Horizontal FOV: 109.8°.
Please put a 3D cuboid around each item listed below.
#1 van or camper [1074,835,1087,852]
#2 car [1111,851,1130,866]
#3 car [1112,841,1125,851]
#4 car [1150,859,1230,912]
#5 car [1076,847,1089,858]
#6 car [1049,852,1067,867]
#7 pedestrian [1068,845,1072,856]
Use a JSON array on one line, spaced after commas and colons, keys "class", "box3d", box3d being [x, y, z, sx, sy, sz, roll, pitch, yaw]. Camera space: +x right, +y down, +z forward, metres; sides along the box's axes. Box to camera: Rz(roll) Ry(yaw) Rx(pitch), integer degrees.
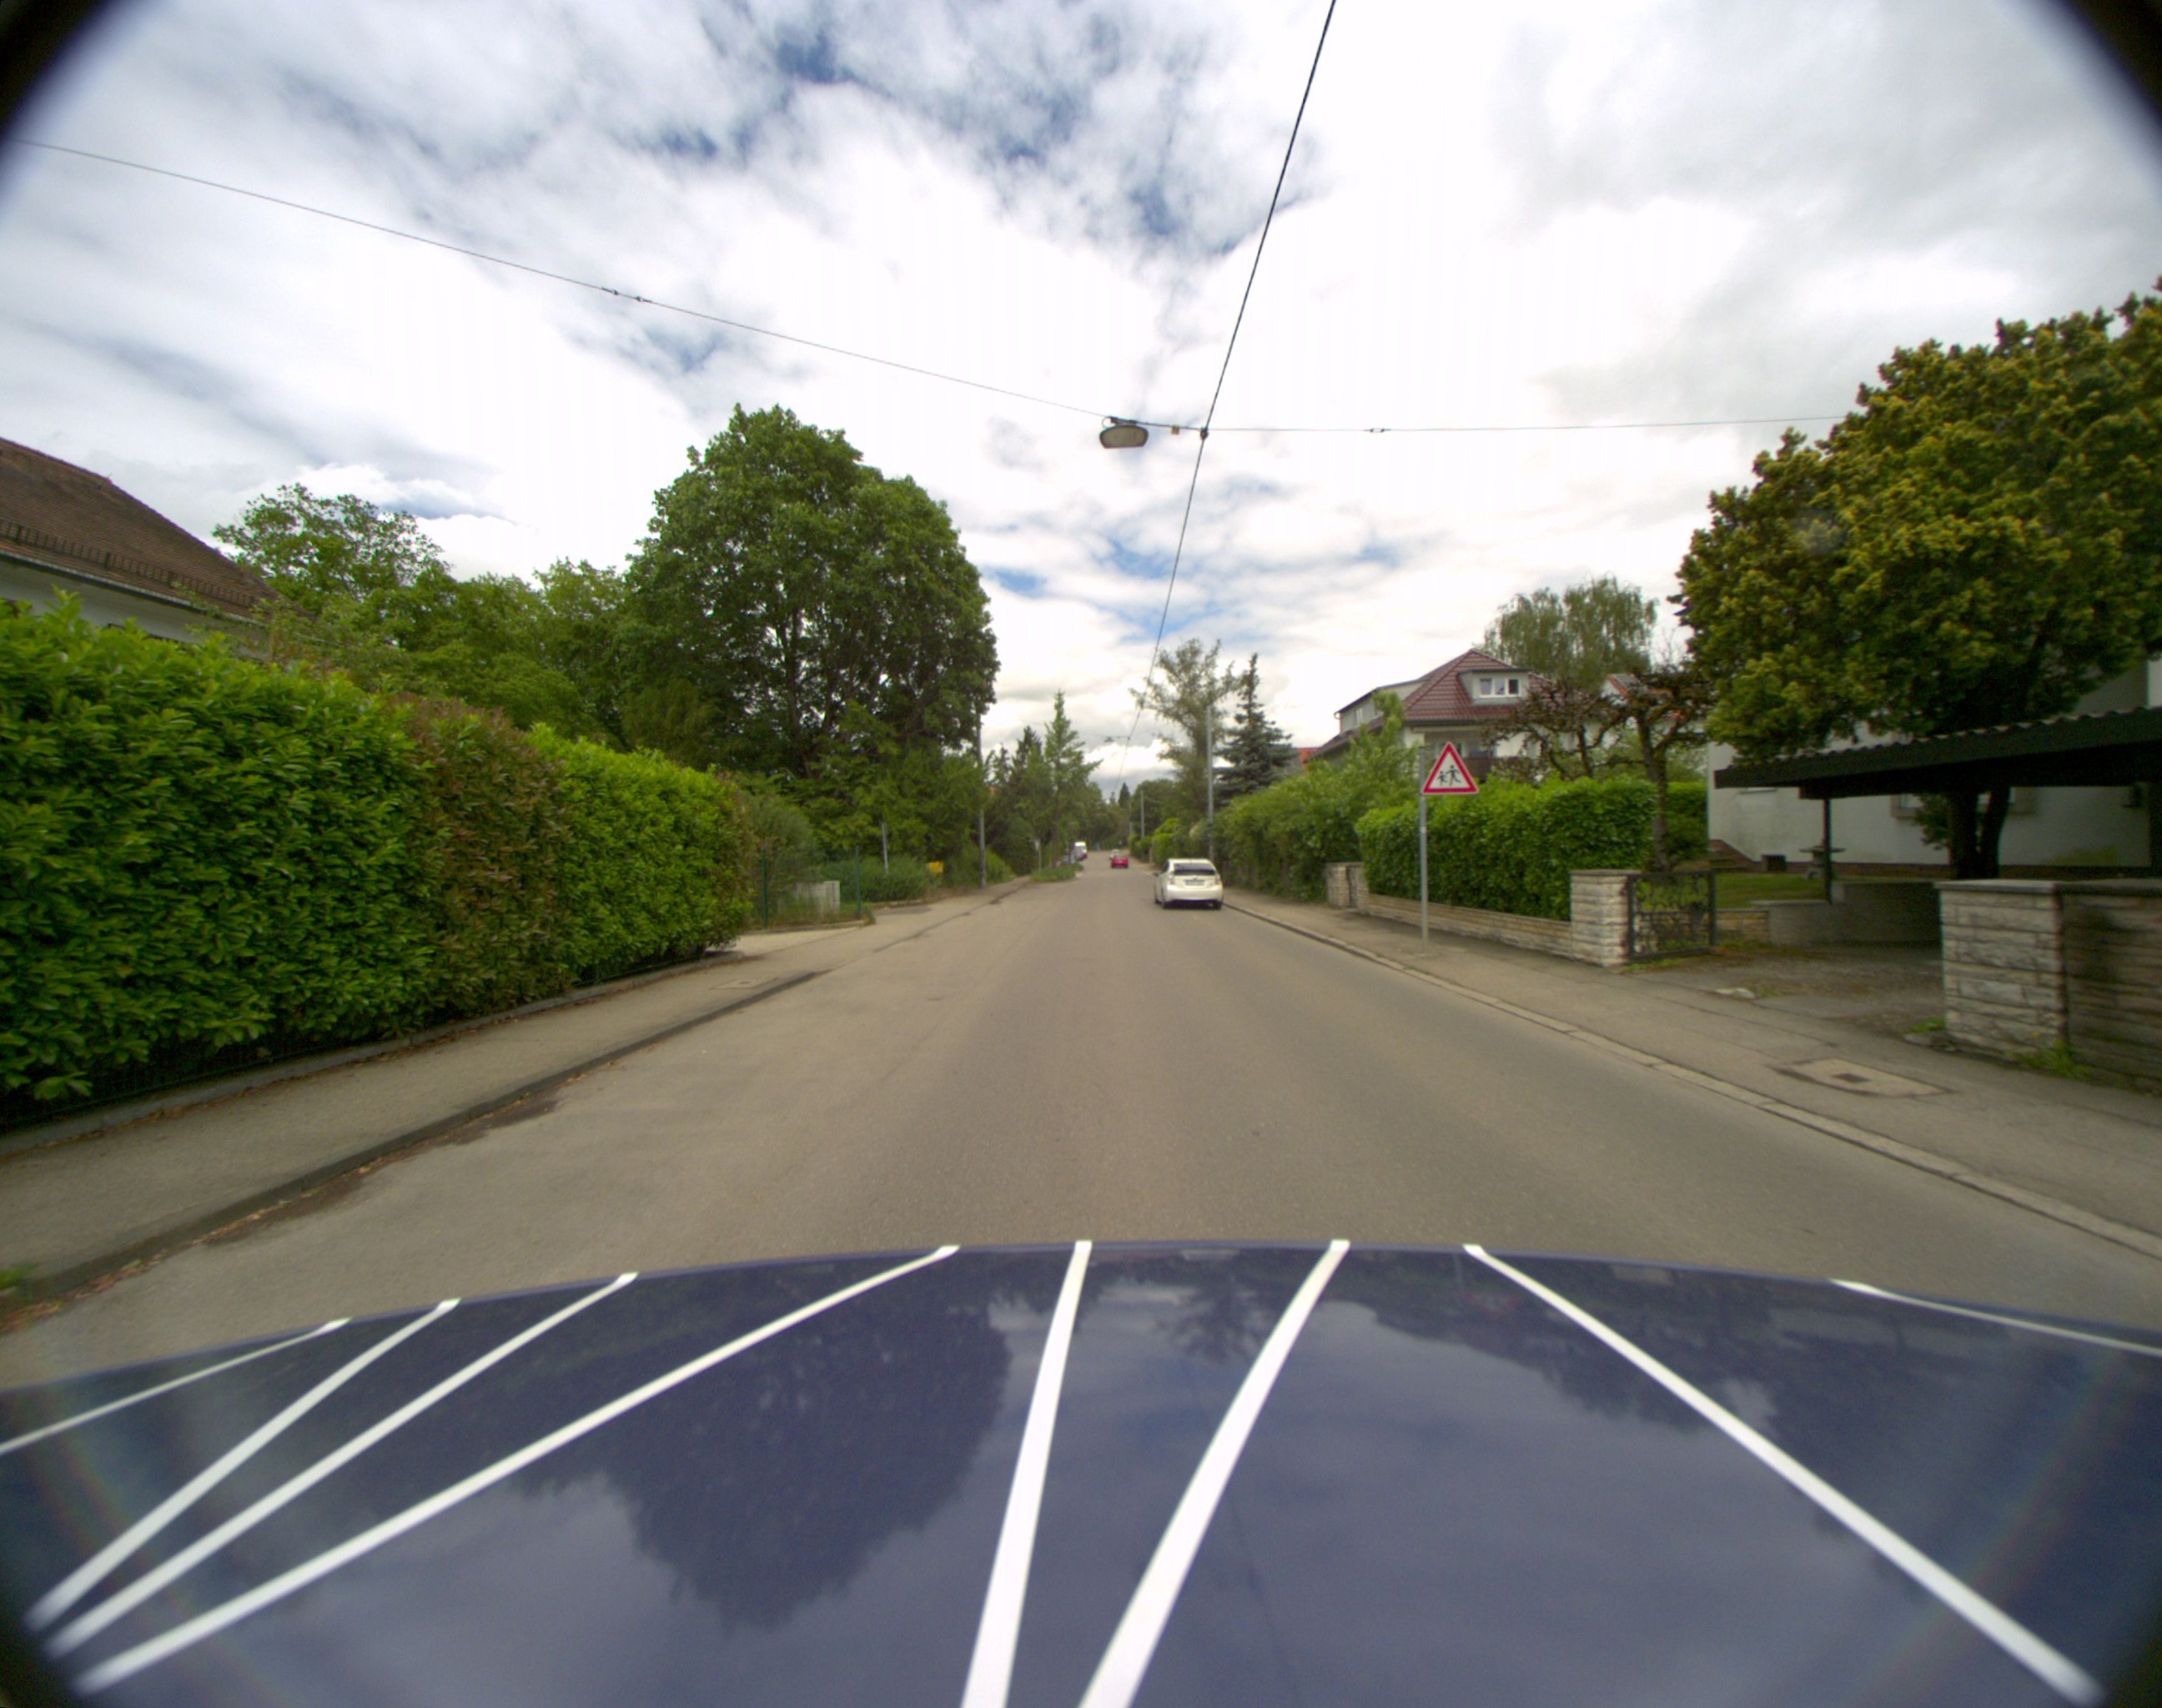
[{"class": "van or camper", "box3d": [-0.135, -1.761, 124.244, 2.046, 2.605, 7.036, -3, 2, 0]}, {"class": "car", "box3d": [4.216, 0.466, 81.006, 1.810, 1.423, 4.118, 1, 1, 0]}, {"class": "car", "box3d": [5.564, -1.142, 113.543, 1.810, 1.423, 4.300, -1, 0, 1]}, {"class": "car", "box3d": [3.284, 0.907, 23.638, 1.859, 1.443, 4.281, 0, 0, 0]}, {"class": "car", "box3d": [0.227, -0.247, 114.804, 1.893, 1.572, 4.764, 0, 2, 2]}, {"class": "car", "box3d": [-2.431, 0.526, 81.045, 1.627, 1.464, 3.740, -2, 1, 2]}, {"class": "pedestrian", "box3d": [-1.746, -0.566, 120.606, 0.671, 1.689, 0.917, 0, 2, -2]}]
